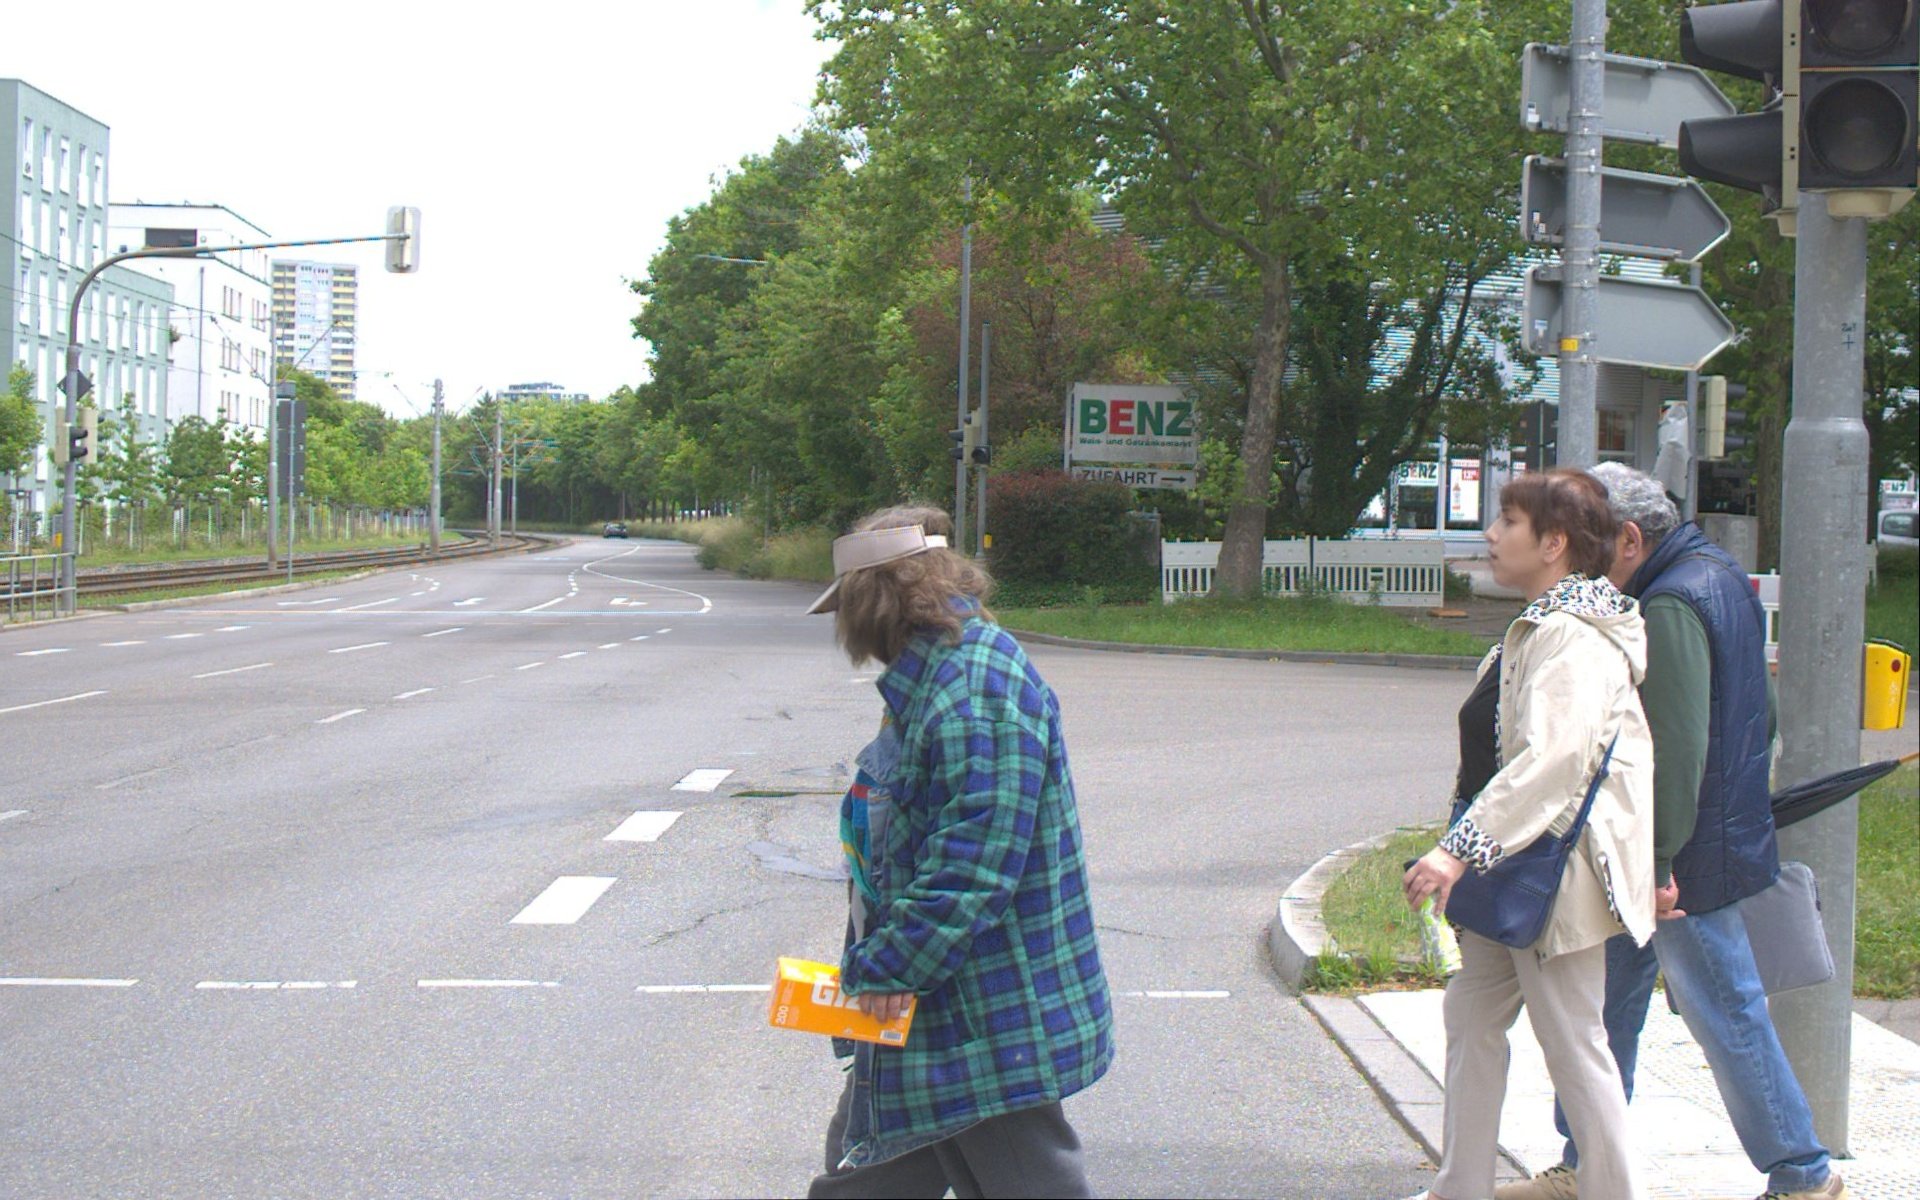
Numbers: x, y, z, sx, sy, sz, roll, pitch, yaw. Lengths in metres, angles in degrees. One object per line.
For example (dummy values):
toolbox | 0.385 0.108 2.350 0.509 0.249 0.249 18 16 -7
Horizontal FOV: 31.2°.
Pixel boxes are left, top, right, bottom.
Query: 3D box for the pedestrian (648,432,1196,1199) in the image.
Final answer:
pedestrian | -0.079 0.571 5.611 0.822 1.665 0.733 1 1 -3

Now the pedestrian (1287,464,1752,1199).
pedestrian | 1.079 0.562 6.686 0.822 1.634 0.733 1 1 9

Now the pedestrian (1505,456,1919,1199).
pedestrian | 1.587 0.527 7.098 0.868 1.629 0.765 1 1 7

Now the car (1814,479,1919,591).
car | 17.745 -1.190 62.565 1.993 2.007 4.000 0 2 -32
